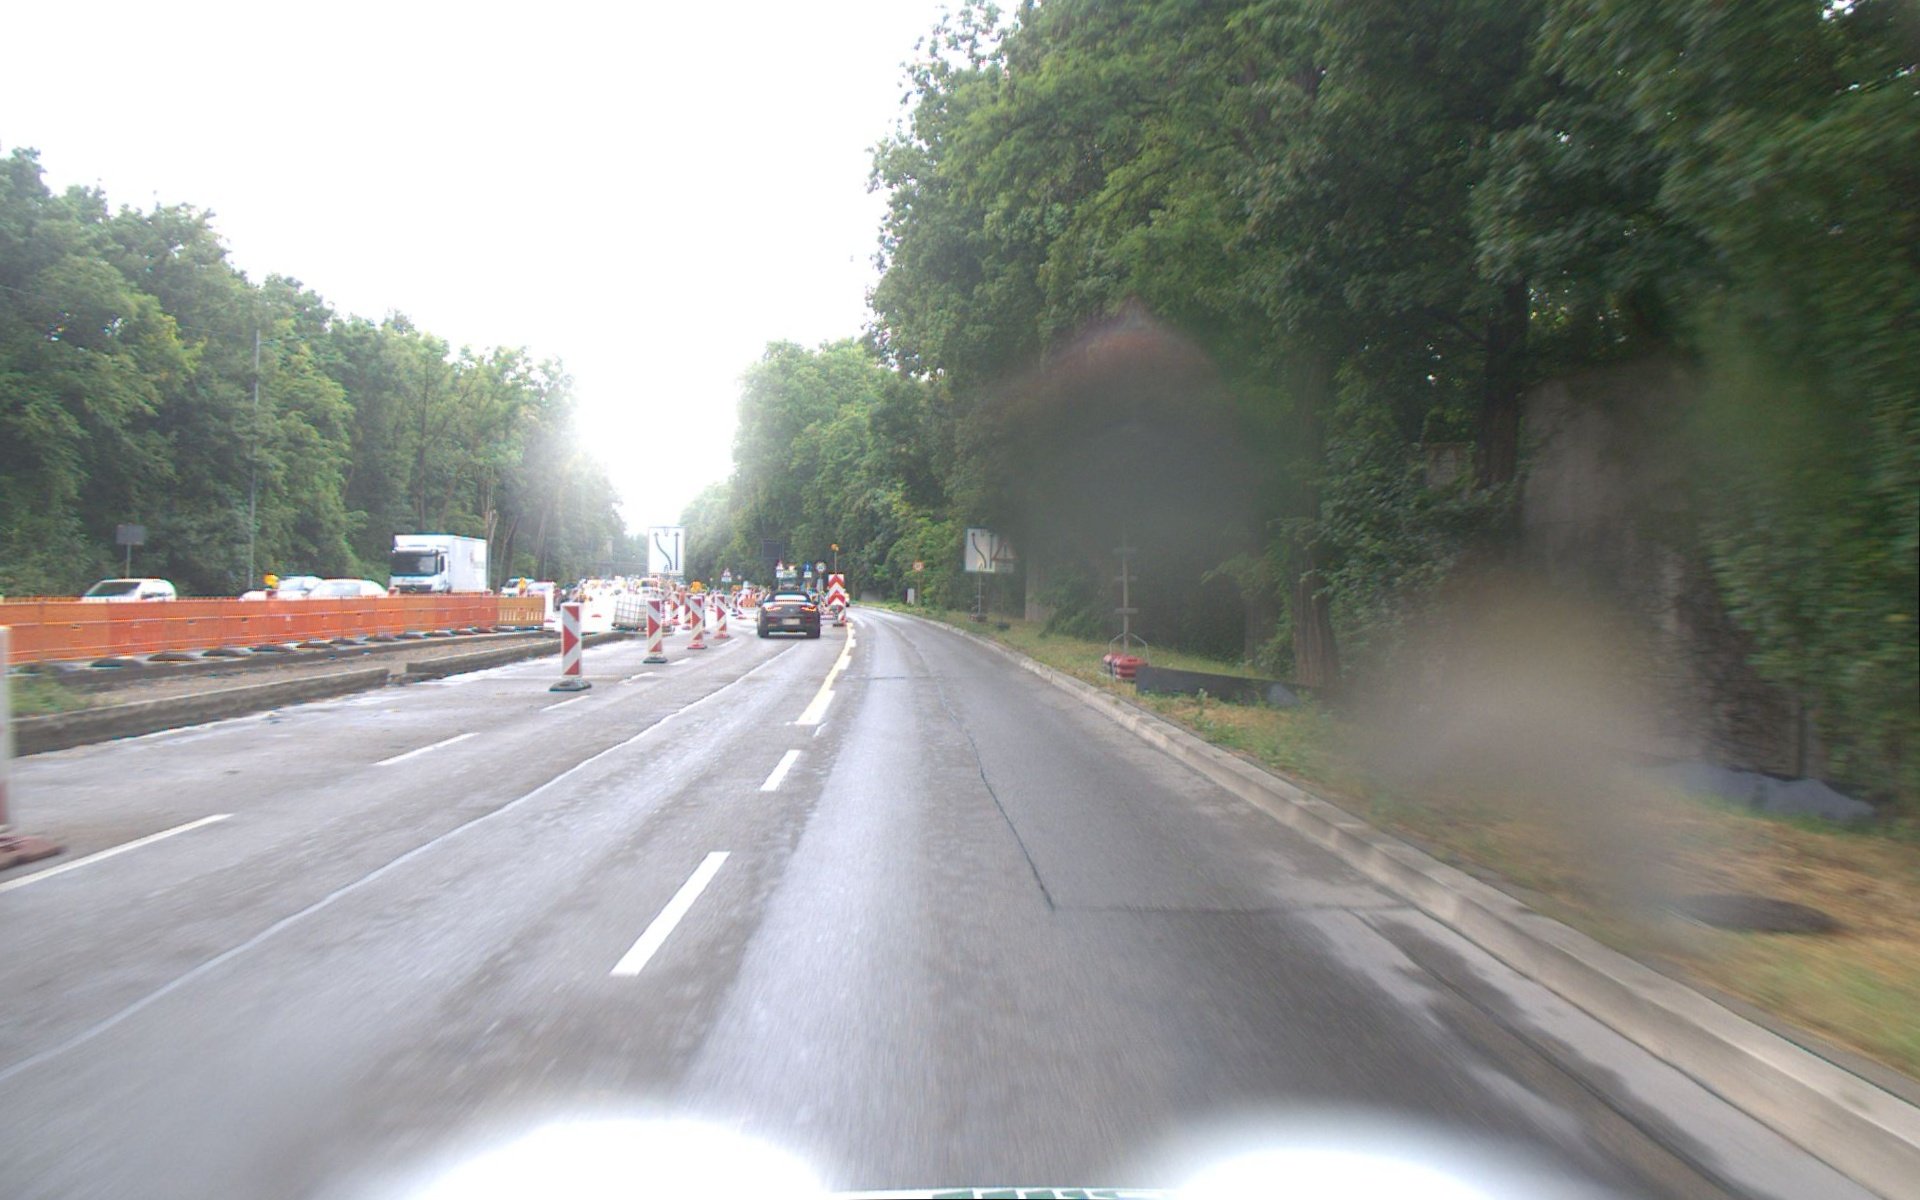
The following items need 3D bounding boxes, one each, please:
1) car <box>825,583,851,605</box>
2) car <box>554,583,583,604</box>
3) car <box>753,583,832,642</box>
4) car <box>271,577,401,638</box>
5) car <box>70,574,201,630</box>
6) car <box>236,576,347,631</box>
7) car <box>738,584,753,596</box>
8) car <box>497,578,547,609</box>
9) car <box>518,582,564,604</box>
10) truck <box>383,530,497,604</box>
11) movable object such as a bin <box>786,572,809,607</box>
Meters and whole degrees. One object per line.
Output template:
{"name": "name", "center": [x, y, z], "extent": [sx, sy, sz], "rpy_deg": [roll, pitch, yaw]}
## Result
{"name": "car", "center": [-9.730, -0.521, 132.108], "extent": [1.877, 1.625, 4.827], "rpy_deg": [1, 1, -6]}
{"name": "car", "center": [-31.526, -0.559, 133.356], "extent": [1.603, 1.676, 4.196], "rpy_deg": [0, 1, -4]}
{"name": "car", "center": [-5.107, 0.355, 50.824], "extent": [1.823, 1.517, 4.002], "rpy_deg": [2, 2, 2]}
{"name": "car", "center": [-16.665, 0.167, 44.415], "extent": [1.818, 1.512, 4.677], "rpy_deg": [1, 1, -2]}
{"name": "car", "center": [-22.691, 0.037, 45.660], "extent": [1.755, 1.450, 3.895], "rpy_deg": [1, 0, -2]}
{"name": "car", "center": [-20.071, 0.095, 49.810], "extent": [1.798, 1.577, 4.038], "rpy_deg": [1, 0, -2]}
{"name": "car", "center": [-28.758, -1.335, 221.639], "extent": [1.725, 1.367, 3.989], "rpy_deg": [2, 1, -12]}
{"name": "car", "center": [-26.496, -0.413, 100.194], "extent": [1.807, 1.753, 4.717], "rpy_deg": [-3, 0, -2]}
{"name": "car", "center": [-23.078, -0.374, 91.150], "extent": [1.573, 1.172, 4.281], "rpy_deg": [1, 0, -2]}
{"name": "truck", "center": [-24.380, -1.481, 78.100], "extent": [2.740, 3.203, 10.140], "rpy_deg": [1, 0, -4]}
{"name": "movable object such as a bin", "center": [-13.414, -0.868, 136.543], "extent": [1.714, 2.917, 3.528], "rpy_deg": [0, 0, -8]}
